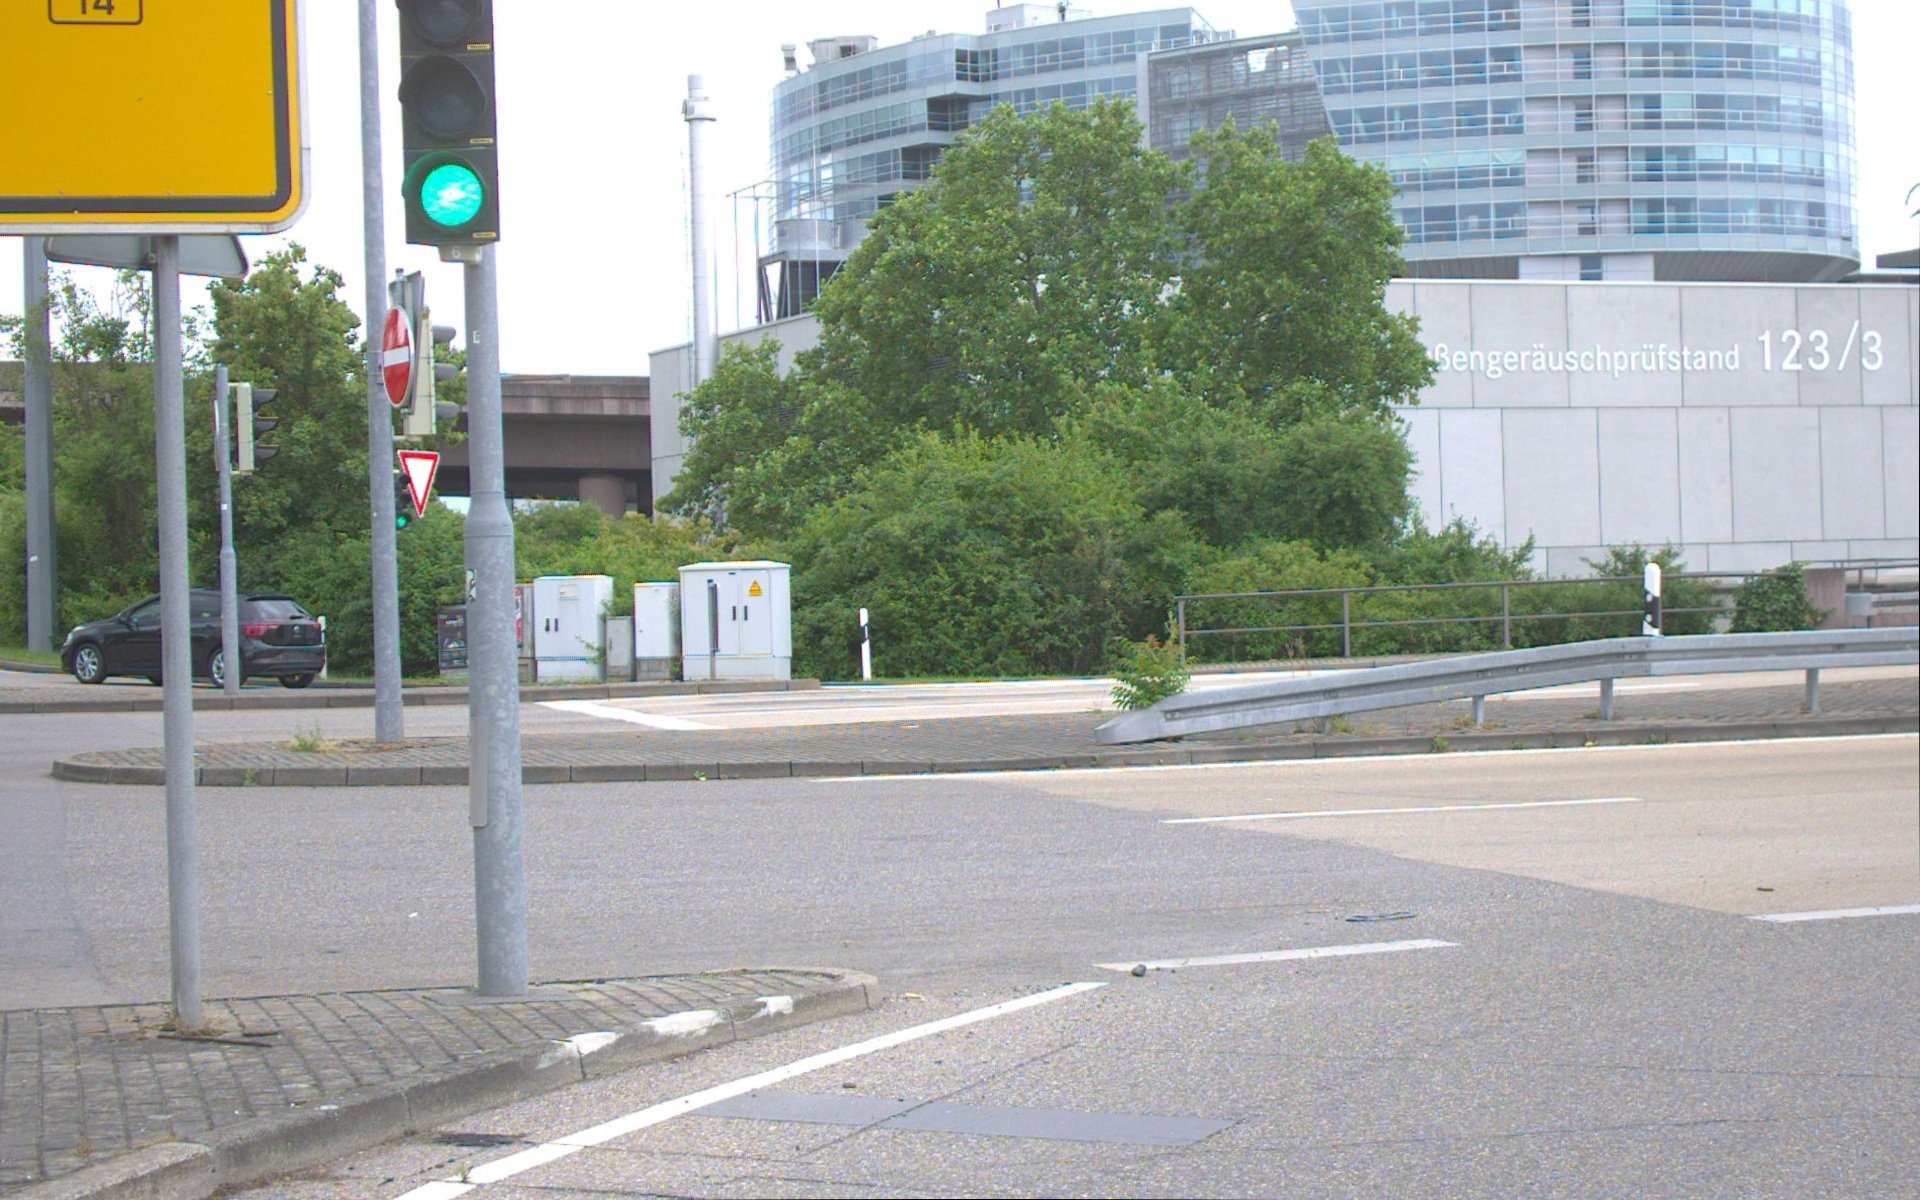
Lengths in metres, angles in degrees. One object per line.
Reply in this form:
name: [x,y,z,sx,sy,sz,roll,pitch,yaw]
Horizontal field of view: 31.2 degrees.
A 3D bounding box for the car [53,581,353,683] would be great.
car: [-11.023,0.486,50.030,3.986,1.417,1.912,-1,-1,28]
